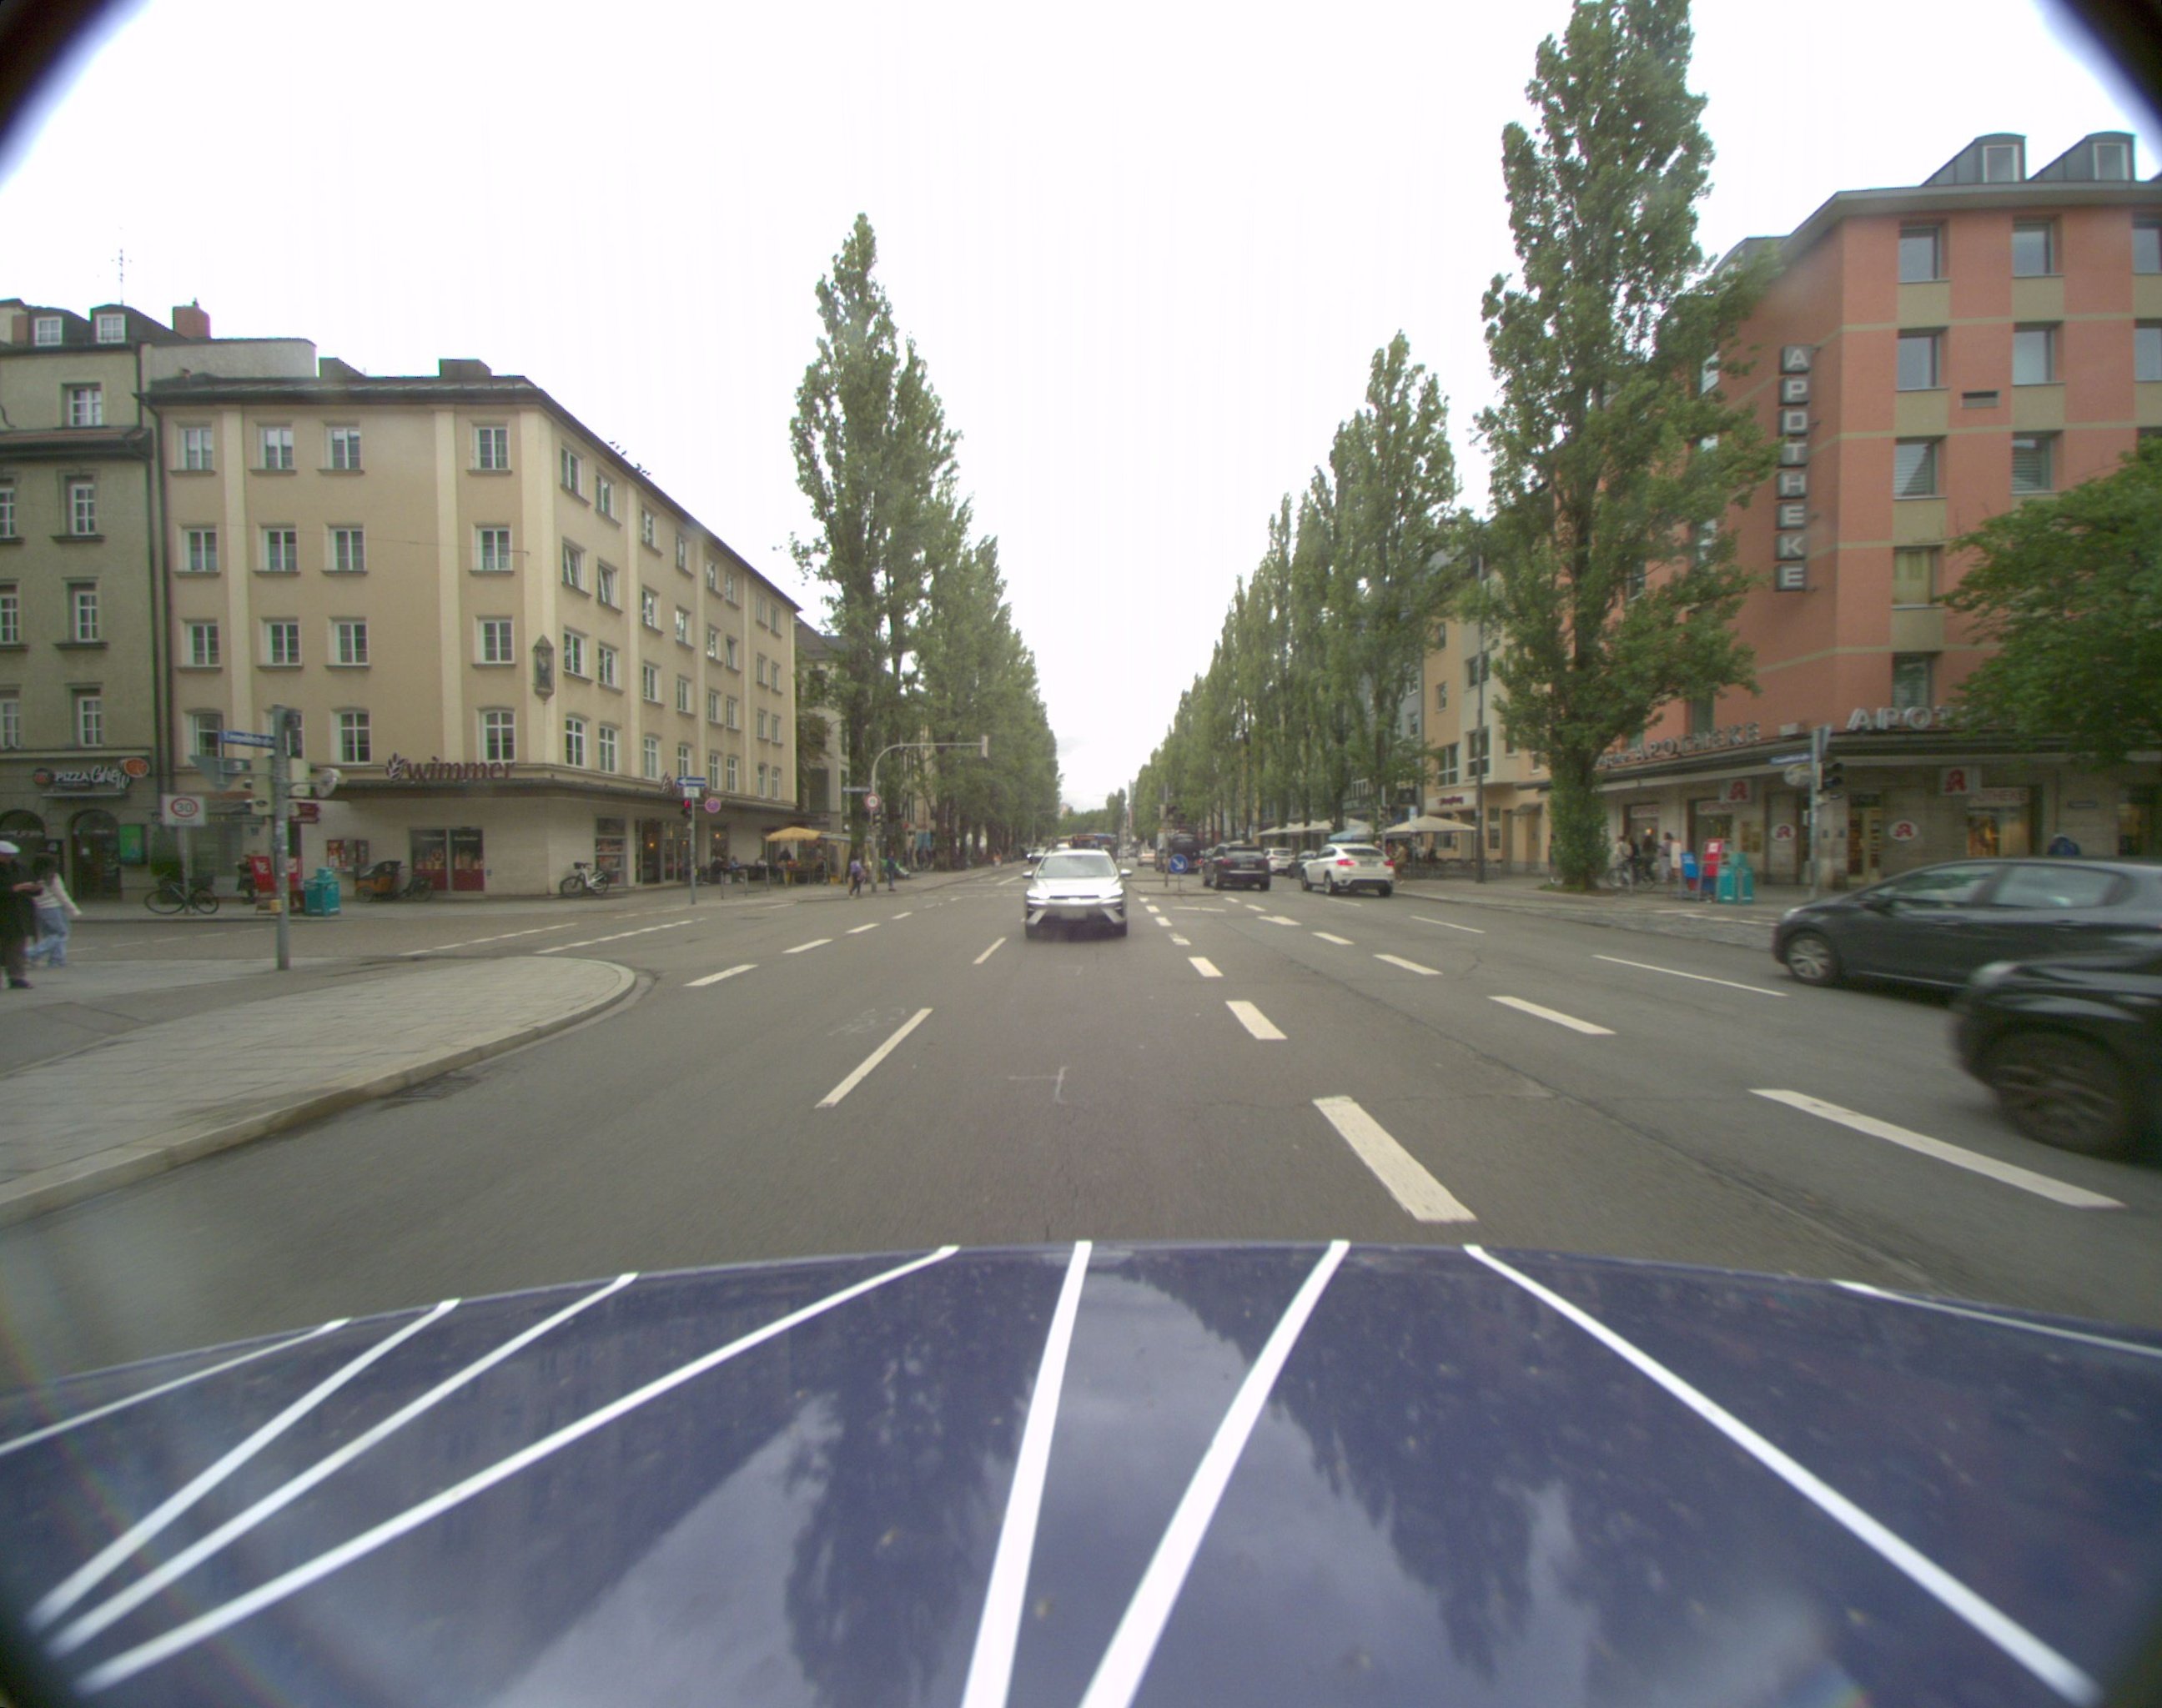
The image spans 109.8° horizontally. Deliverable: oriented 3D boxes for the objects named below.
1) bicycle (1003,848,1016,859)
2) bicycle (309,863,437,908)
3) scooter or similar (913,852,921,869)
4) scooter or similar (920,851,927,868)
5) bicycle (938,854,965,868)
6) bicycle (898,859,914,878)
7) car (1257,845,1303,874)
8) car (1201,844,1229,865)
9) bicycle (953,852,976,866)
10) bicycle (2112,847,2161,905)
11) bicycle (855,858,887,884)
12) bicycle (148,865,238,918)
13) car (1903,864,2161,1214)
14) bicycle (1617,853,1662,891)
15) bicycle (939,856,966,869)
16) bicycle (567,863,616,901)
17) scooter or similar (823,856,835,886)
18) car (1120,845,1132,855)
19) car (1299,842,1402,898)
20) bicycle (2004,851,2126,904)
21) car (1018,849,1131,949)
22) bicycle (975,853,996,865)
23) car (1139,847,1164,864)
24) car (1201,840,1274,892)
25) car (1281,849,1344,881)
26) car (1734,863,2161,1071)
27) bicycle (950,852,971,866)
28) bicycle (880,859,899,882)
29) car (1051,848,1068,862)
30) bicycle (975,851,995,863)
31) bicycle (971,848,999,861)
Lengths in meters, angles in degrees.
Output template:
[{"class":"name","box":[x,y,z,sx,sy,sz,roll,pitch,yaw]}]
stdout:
[{"class":"bicycle","box":[-9.073,-0.079,96.669,0.829,1.403,2.594,-2,1,-25]},{"class":"bicycle","box":[-22.026,0.972,23.682,2.978,1.245,0.999,-2,2,0]},{"class":"scooter or similar","box":[-12.521,0.457,58.005,0.331,1.266,1.036,-1,1,1]},{"class":"scooter or similar","box":[-12.012,0.431,57.929,0.248,1.266,1.036,-1,1,1]},{"class":"bicycle","box":[-9.804,0.520,57.510,2.005,1.077,0.286,-1,1,-9]},{"class":"bicycle","box":[-9.405,0.786,40.852,0.510,0.970,1.770,-1,1,-1]},{"class":"car","box":[11.785,0.283,45.180,1.707,1.574,4.095,1,1,1]},{"class":"car","box":[11.743,0.005,66.912,1.784,1.671,4.585,1,1,2]},{"class":"bicycle","box":[-9.708,0.435,63.470,1.871,1.129,0.339,-1,1,-8]},{"class":"bicycle","box":[22.085,0.450,15.035,0.416,1.177,2.062,-1,1,-6]},{"class":"bicycle","box":[-9.618,0.765,34.834,0.405,1.064,1.813,-6,0,16]},{"class":"bicycle","box":[-23.732,0.989,20.313,1.832,1.378,0.481,-1,1,2]},{"class":"car","box":[5.462,0.831,2.457,1.565,1.487,3.694,0,1,0]},{"class":"bicycle","box":[17.426,0.534,23.727,0.422,1.135,1.373,-1,1,1]},{"class":"bicycle","box":[-9.808,0.634,57.859,2.005,0.940,0.286,-1,1,-8]},{"class":"bicycle","box":[-16.417,0.910,25.515,0.435,1.164,1.811,-2,1,-1]},{"class":"scooter or similar","box":[-10.871,0.712,32.792,0.408,1.236,1.369,-1,1,-15]},{"class":"car","box":[7.747,-0.698,130.645,1.848,1.626,4.575,1,1,1]},{"class":"car","box":[8.824,0.461,25.342,1.842,1.706,4.635,0,1,1]},{"class":"bicycle","box":[23.357,0.549,18.060,2.060,1.177,0.416,-2,2,8]},{"class":"car","box":[-0.101,0.716,14.335,1.758,1.529,3.916,-3,1,0]},{"class":"bicycle","box":[-8.649,0.462,68.502,1.842,1.003,0.393,1,1,9]},{"class":"car","box":[6.267,0.089,68.069,1.848,1.493,4.985,0,1,0]},{"class":"car","box":[5.727,0.385,28.305,1.889,1.736,4.438,-1,1,1]},{"class":"car","box":[11.558,0.495,38.233,1.707,1.430,4.588,1,1,-1]},{"class":"car","box":[8.702,0.852,7.141,1.646,1.431,3.996,0,1,0]},{"class":"bicycle","box":[-9.890,0.425,62.370,1.666,1.100,0.396,-1,1,-11]},{"class":"bicycle","box":[-9.331,0.779,37.104,0.510,1.042,1.770,-1,1,-1]},{"class":"car","box":[-2.511,0.056,89.382,1.758,1.529,3.916,-2,1,0]},{"class":"bicycle","box":[-9.505,0.313,75.444,1.902,1.120,0.686,-1,1,1]},{"class":"bicycle","box":[-9.343,0.077,74.073,2.577,1.208,0.965,-1,1,1]}]
